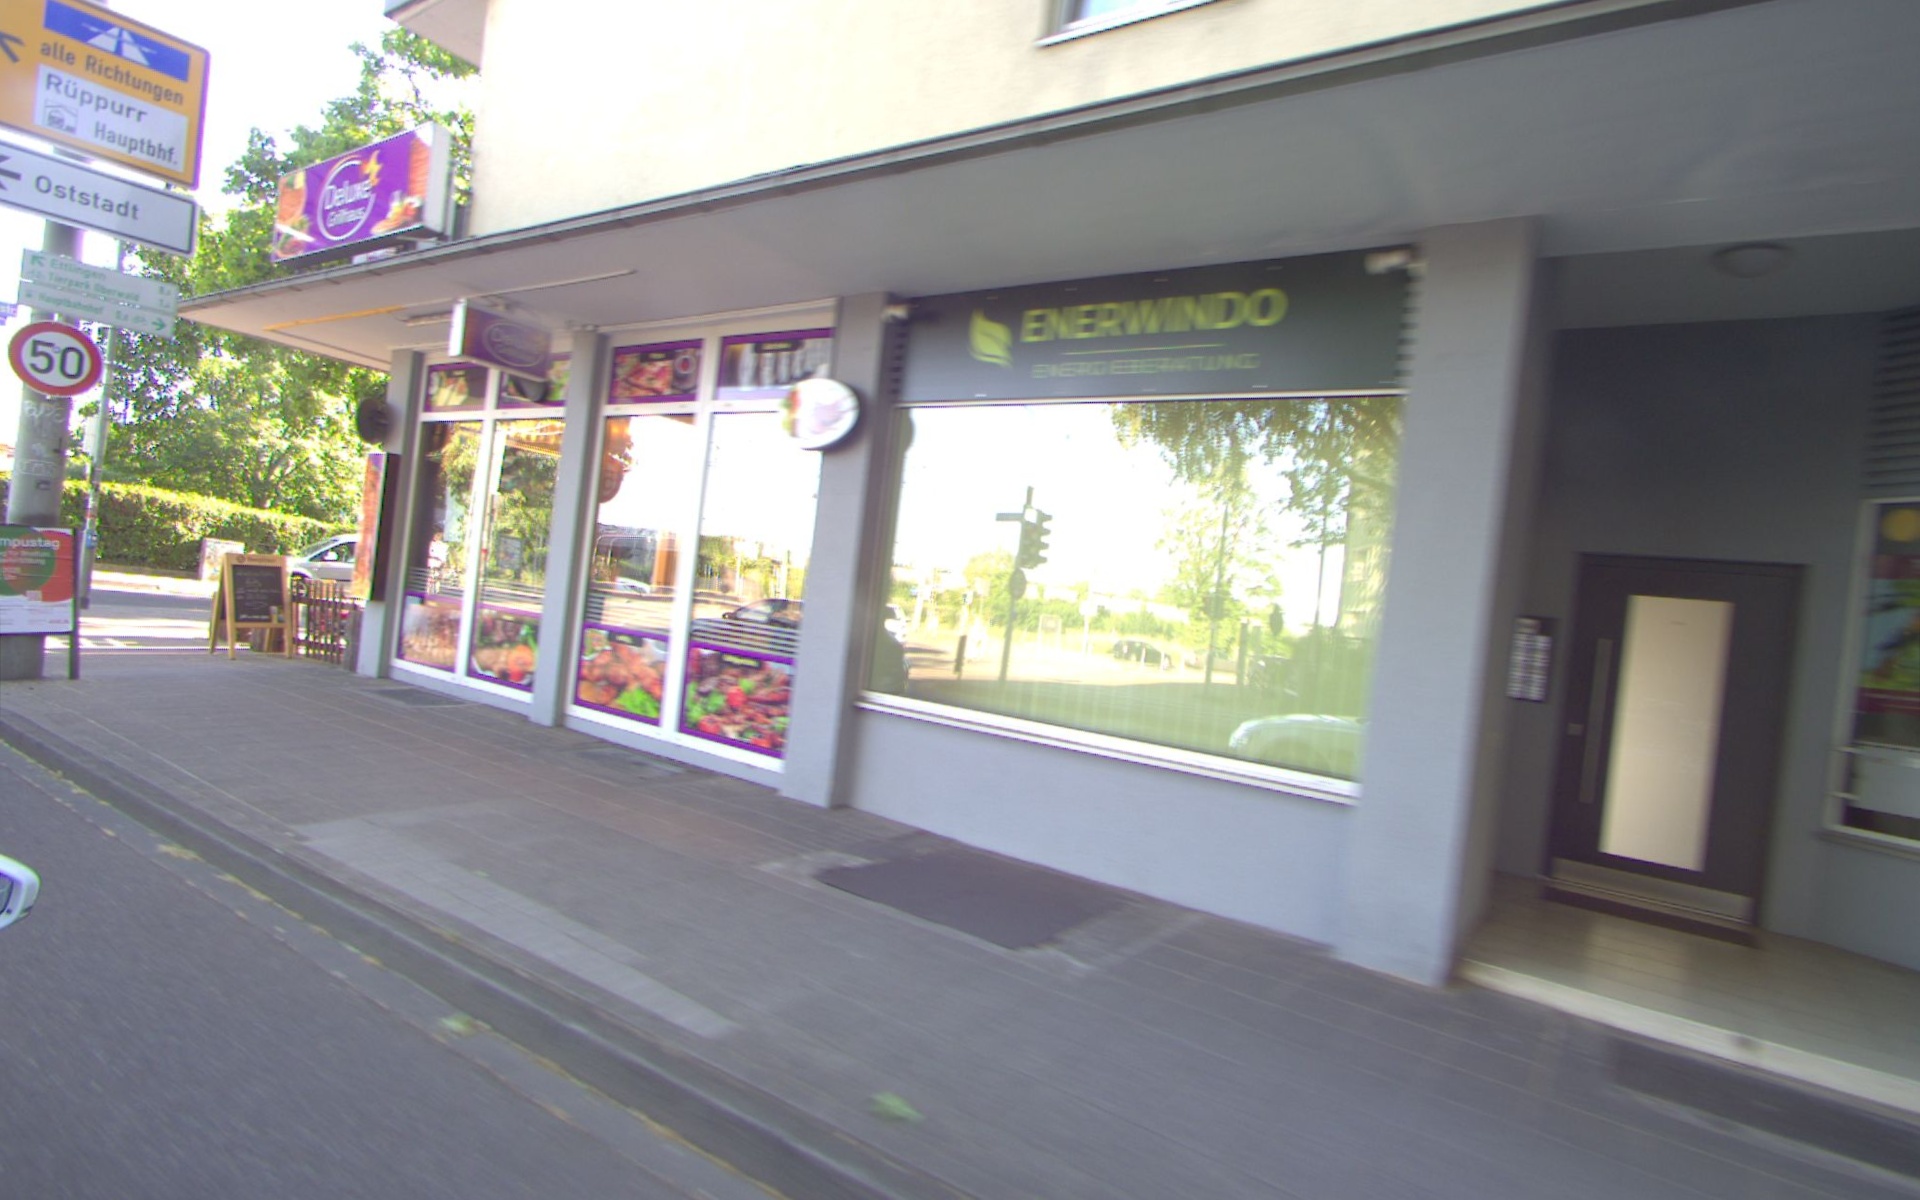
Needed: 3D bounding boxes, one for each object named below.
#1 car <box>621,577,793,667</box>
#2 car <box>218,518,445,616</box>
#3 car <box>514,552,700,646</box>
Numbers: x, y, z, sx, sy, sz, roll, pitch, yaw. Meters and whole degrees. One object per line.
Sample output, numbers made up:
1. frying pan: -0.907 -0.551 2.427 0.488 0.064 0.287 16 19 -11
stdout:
1. car: -6.071 0.510 24.040 3.841 1.637 1.713 6 -1 33
2. car: -14.978 -0.729 24.178 1.781 1.834 4.174 3 -3 38
3. car: -7.904 -0.036 22.426 3.969 1.600 1.707 6 -1 32
